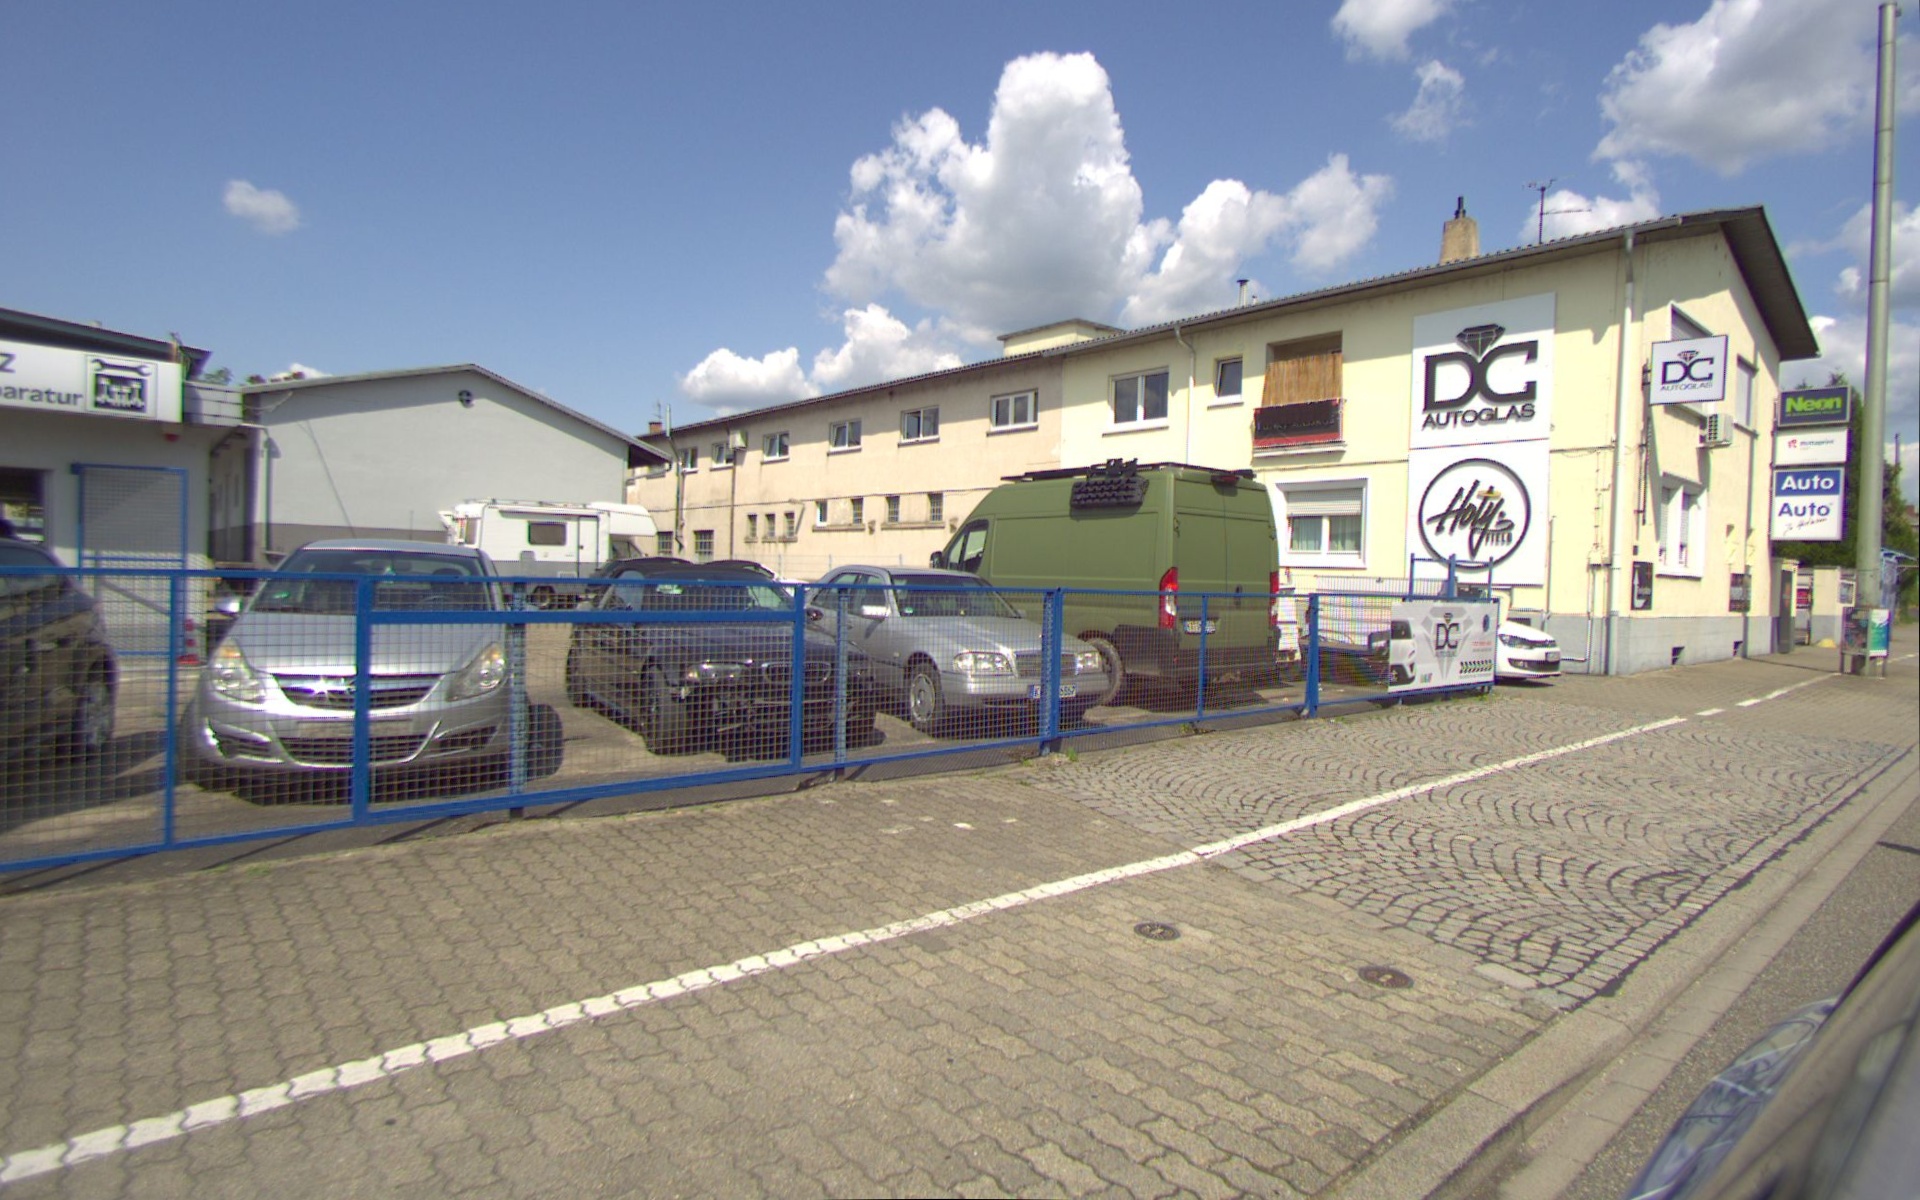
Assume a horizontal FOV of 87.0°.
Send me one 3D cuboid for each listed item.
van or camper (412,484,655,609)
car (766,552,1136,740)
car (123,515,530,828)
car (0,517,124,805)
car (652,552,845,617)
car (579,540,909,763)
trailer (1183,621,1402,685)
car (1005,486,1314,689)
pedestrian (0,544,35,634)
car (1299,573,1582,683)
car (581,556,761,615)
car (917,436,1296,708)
[{"bbox_3d":[-11.304,-1.325,27.104,5.556,3.002,2.272,0,2,-42],"label":"van or camper"},{"bbox_3d":[-0.338,0.285,10.196,1.679,1.470,4.292,1,2,-33],"label":"car"},{"bbox_3d":[-3.899,0.279,6.834,1.736,1.470,3.778,1,2,-24],"label":"car"},{"bbox_3d":[-5.637,0.302,4.862,1.606,1.470,3.700,1,2,-25],"label":"car"},{"bbox_3d":[-4.844,-0.350,23.541,4.112,1.378,1.645,0,2,-41],"label":"car"},{"bbox_3d":[-2.128,0.272,8.891,1.737,1.470,4.128,1,2,-28],"label":"car"},{"bbox_3d":[4.749,0.722,14.644,1.307,0.674,2.730,0,2,-42],"label":"trailer"},{"bbox_3d":[2.631,-0.227,14.228,1.557,2.436,4.208,1,2,-39],"label":"car"},{"bbox_3d":[-13.161,-0.158,13.875,0.652,1.224,0.566,1,1,-39],"label":"pedestrian"},{"bbox_3d":[7.534,0.359,16.172,1.527,1.481,3.775,1,2,-39],"label":"car"},{"bbox_3d":[-7.307,-0.360,25.804,4.112,1.378,1.645,0,2,-41],"label":"car"},{"bbox_3d":[1.587,-0.352,12.249,2.075,2.675,4.208,1,2,-39],"label":"car"}]
